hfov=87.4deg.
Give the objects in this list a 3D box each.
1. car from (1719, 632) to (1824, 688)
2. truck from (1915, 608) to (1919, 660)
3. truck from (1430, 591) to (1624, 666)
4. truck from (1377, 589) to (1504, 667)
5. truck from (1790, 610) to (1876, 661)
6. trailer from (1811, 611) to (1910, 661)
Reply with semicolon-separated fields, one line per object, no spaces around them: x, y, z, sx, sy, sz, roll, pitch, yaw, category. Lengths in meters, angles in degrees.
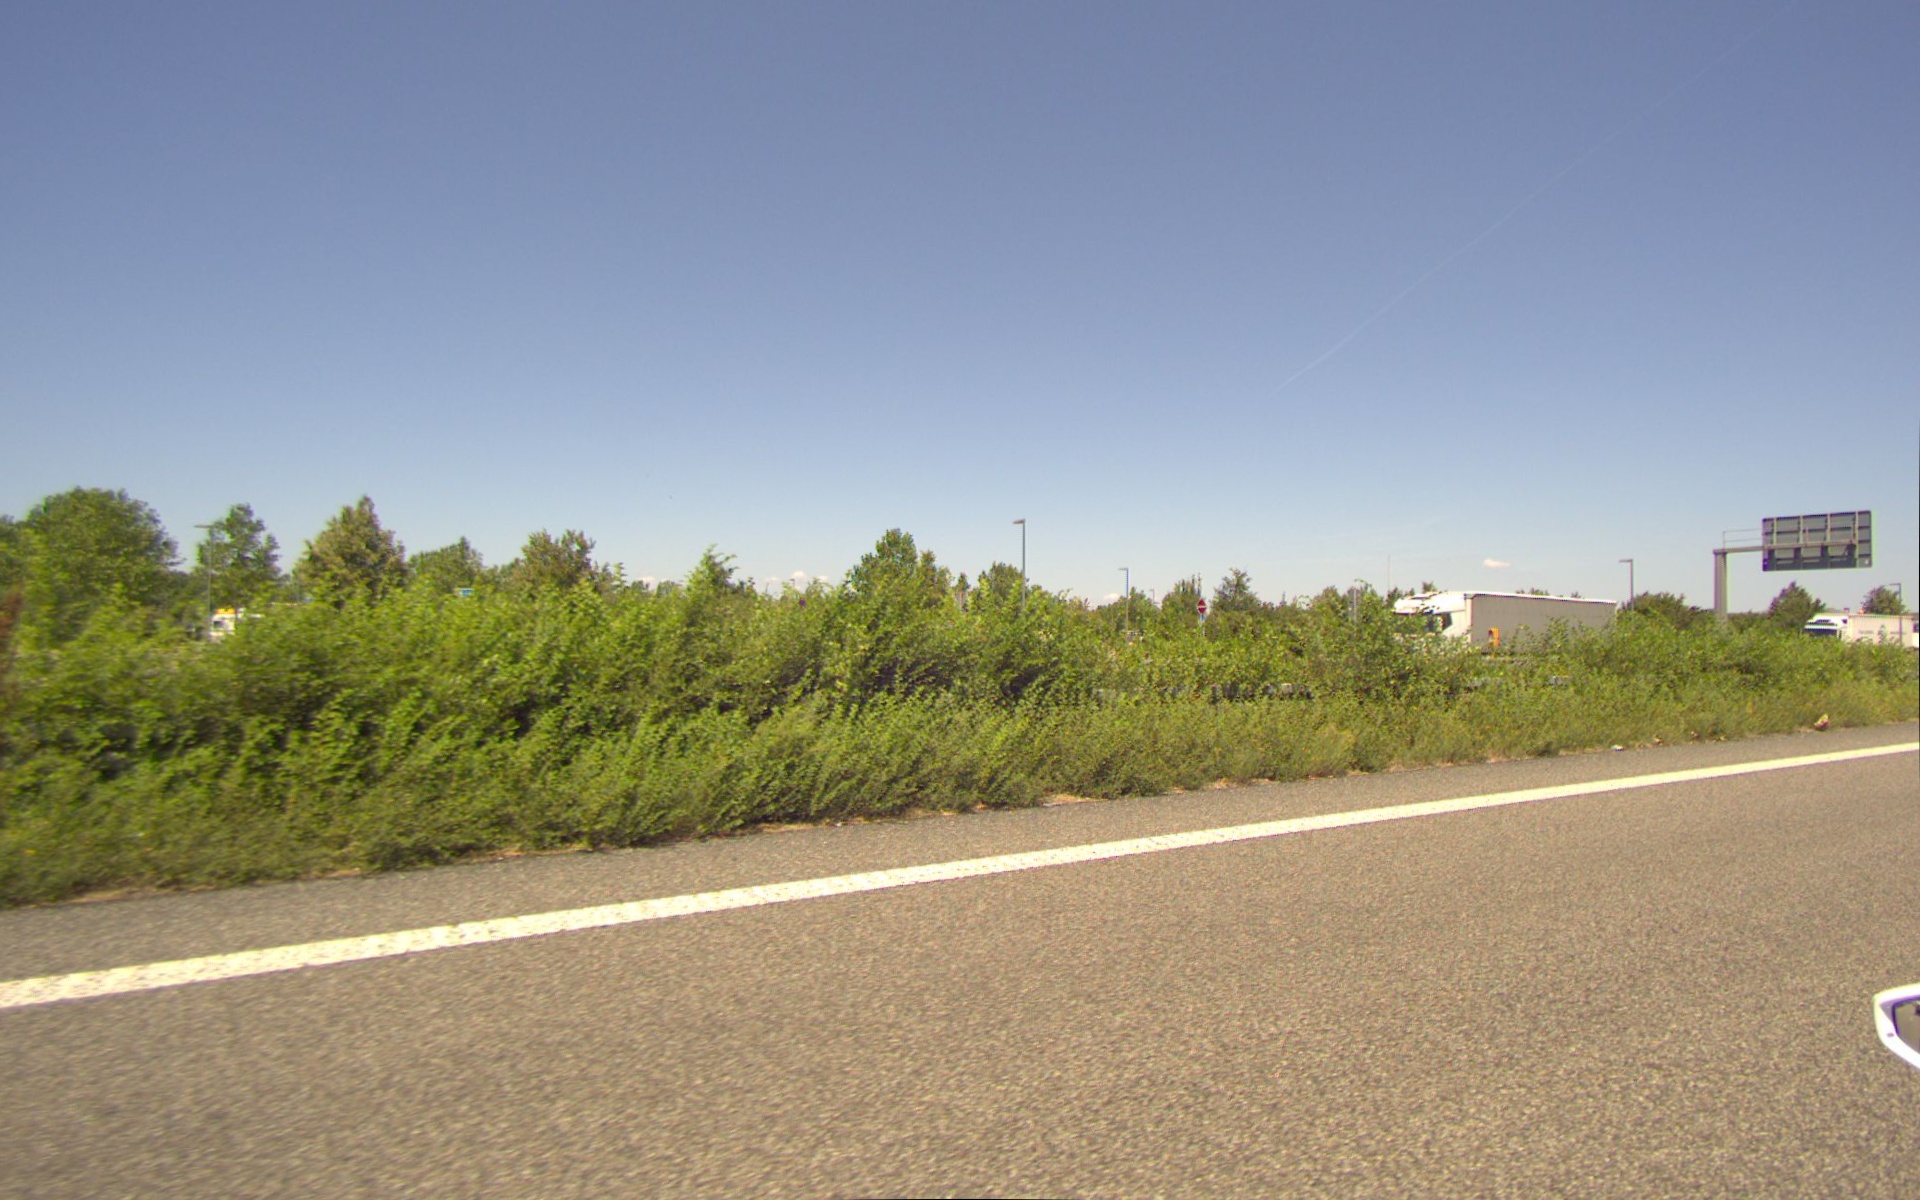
28.803;2.112;35.629;3.756;1.828;1.644;2;0;-30;car
82.011;2.895;82.916;7.844;4.244;2.569;2;-1;-31;truck
31.041;1.604;54.621;13.448;3.692;2.785;2;0;-31;truck
24.237;1.397;50.585;6.075;3.692;2.785;2;0;-30;truck
75.249;3.067;86.523;8.220;4.207;3.080;2;0;-31;truck
80.358;3.233;89.573;11.871;4.211;3.078;2;0;-31;trailer
